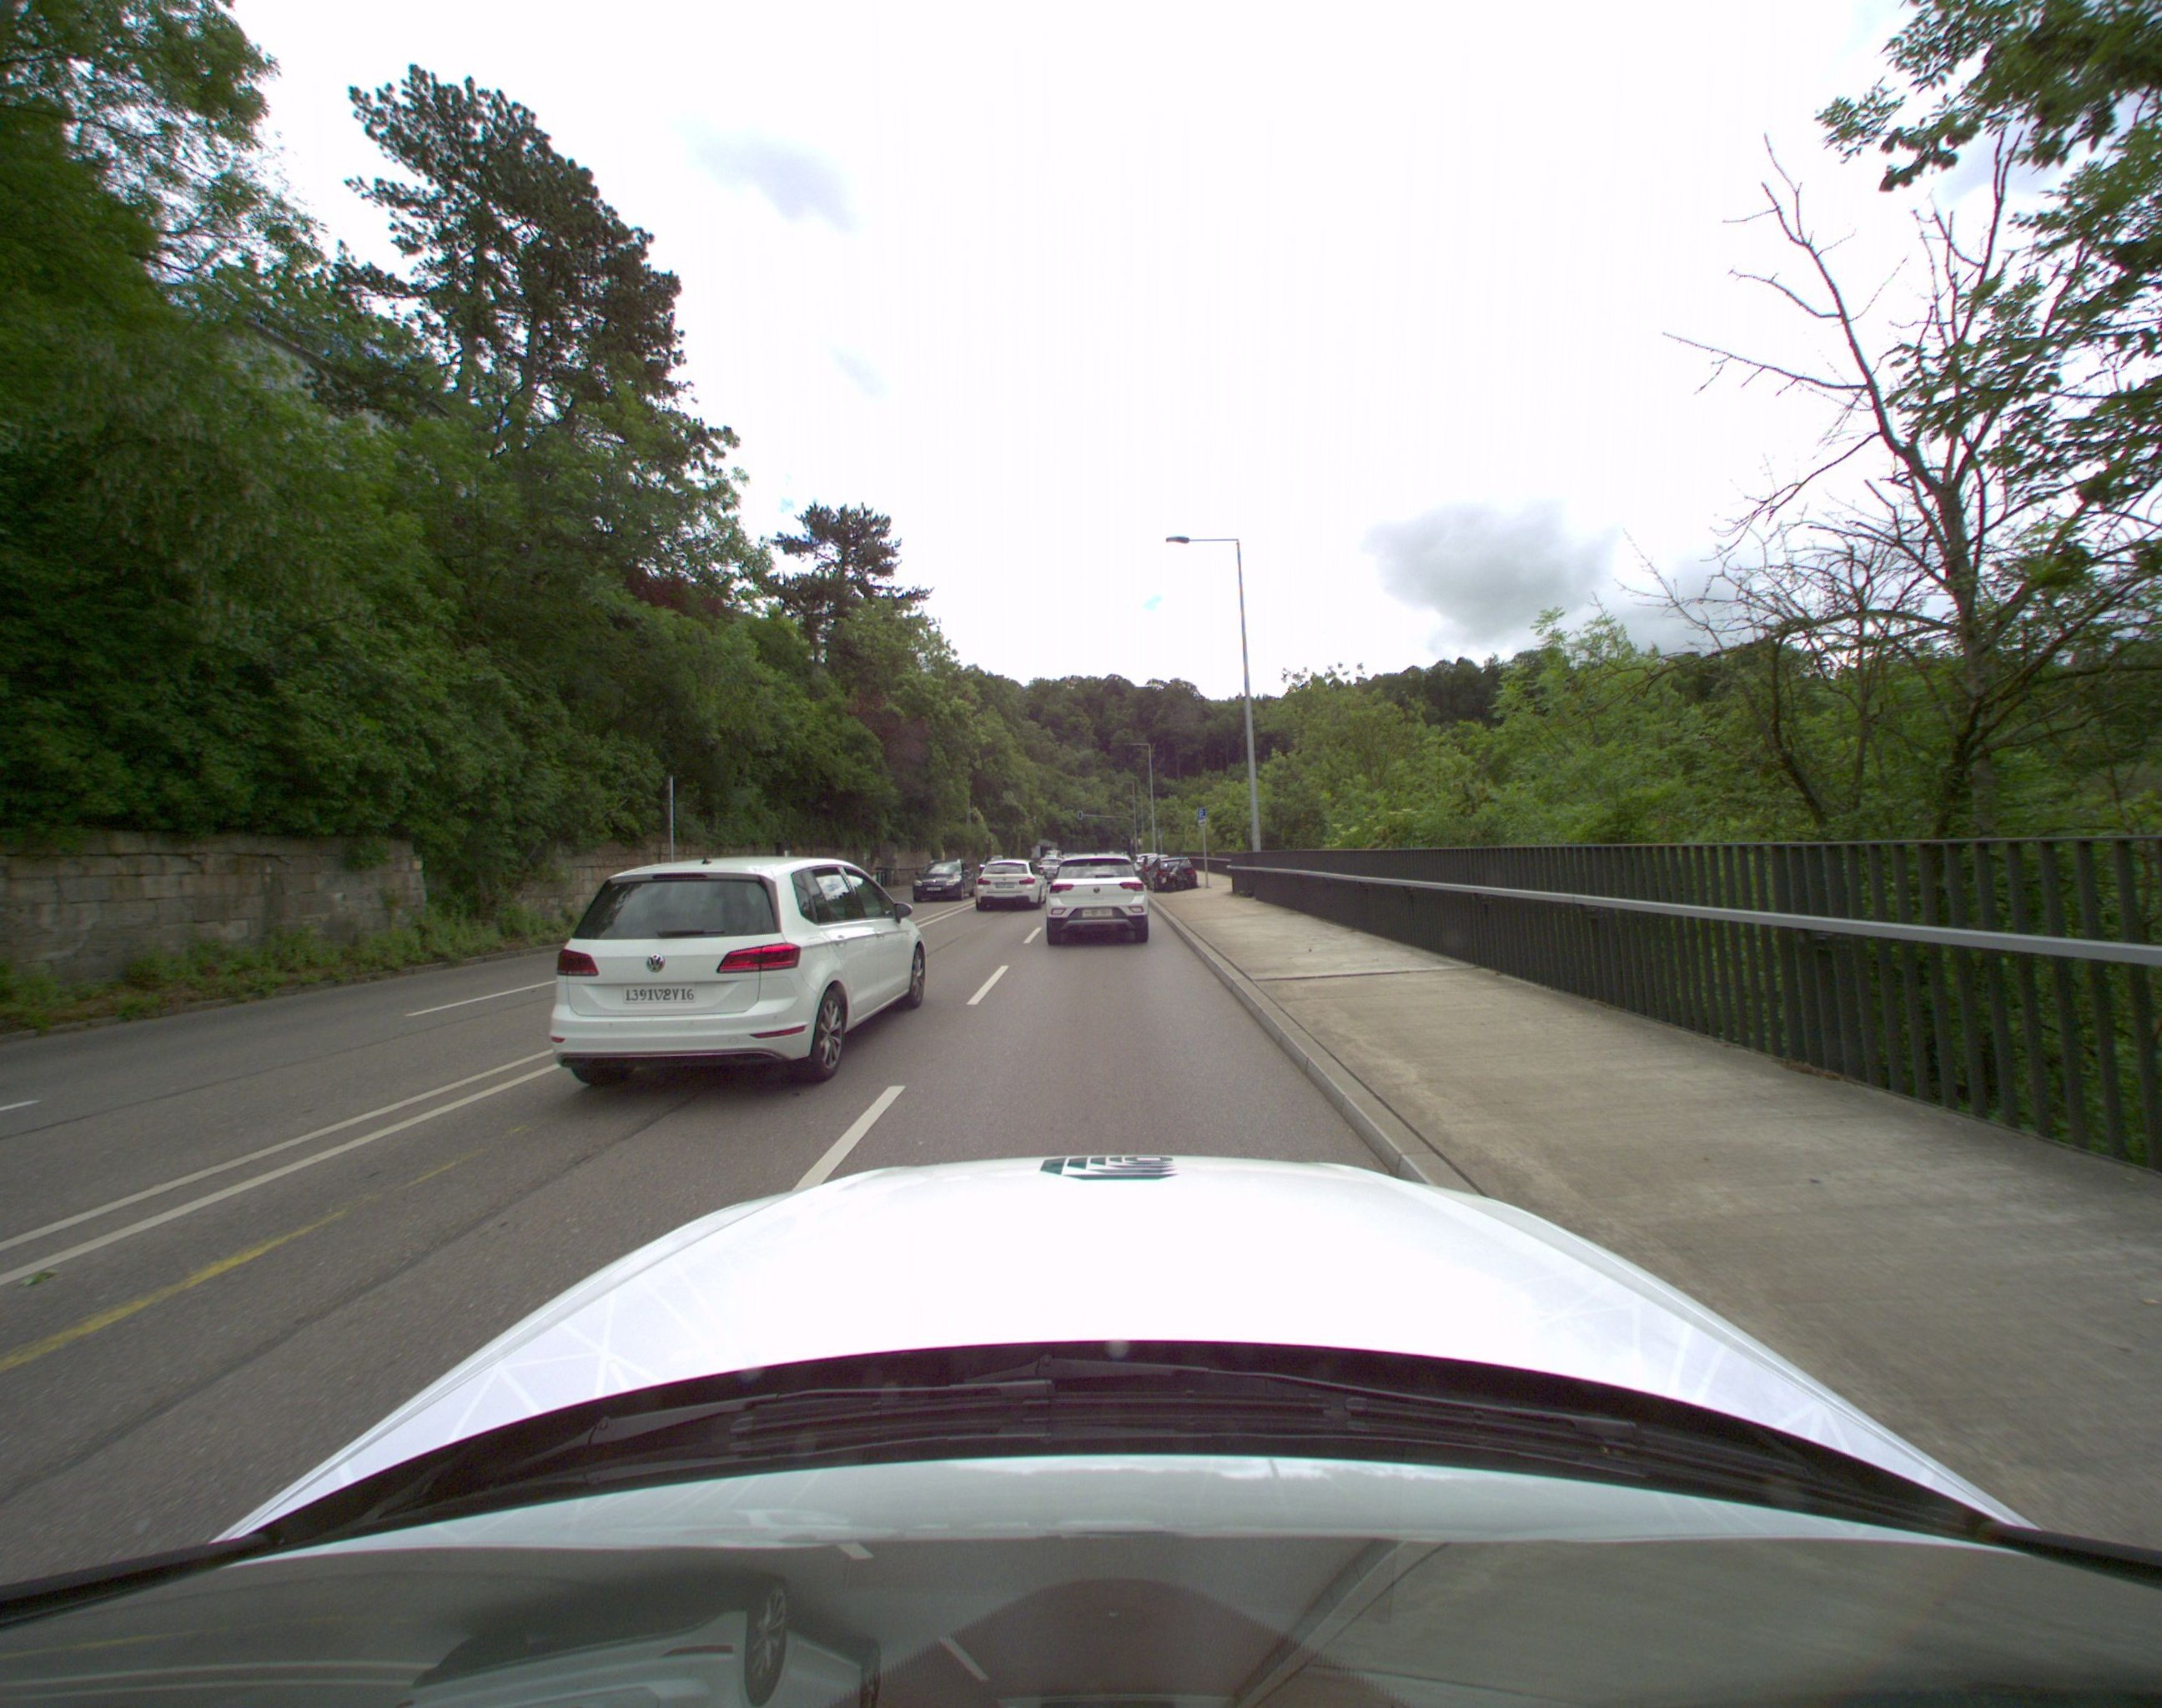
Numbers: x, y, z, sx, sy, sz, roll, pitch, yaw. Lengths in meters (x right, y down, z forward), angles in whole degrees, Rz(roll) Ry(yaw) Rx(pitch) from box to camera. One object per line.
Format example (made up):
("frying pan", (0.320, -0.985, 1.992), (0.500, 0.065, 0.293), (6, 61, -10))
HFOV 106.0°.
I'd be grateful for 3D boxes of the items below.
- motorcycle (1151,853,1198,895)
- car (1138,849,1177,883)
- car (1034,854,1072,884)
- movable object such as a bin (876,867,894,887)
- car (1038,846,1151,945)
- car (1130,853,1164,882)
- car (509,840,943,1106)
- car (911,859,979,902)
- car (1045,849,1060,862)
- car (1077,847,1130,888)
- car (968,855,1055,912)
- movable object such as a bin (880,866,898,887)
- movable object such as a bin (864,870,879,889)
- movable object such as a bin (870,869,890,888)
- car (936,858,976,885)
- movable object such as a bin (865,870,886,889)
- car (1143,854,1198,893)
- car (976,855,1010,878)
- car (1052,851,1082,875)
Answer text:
("motorcycle", (3.496, 0.724, 30.341), (0.762, 1.467, 2.520), (-1, 0, 30))
("car", (4.047, 0.624, 43.486), (1.653, 1.572, 4.256), (-4, 0, 1))
("car", (-1.521, 0.837, 45.676), (1.855, 1.595, 4.002), (0, -1, 2))
("movable object such as a bin", (-10.794, 1.284, 44.827), (0.770, 1.062, 0.717), (-2, 0, -2))
("car", (0.374, 0.712, 15.383), (1.805, 1.539, 4.013), (-3, -1, 4))
("car", (3.922, 0.787, 49.068), (1.720, 1.568, 4.625), (-3, -1, 1))
("car", (-2.487, 0.715, 6.998), (1.714, 1.554, 4.277), (-1, 0, 2))
("car", (-5.021, 0.948, 30.617), (1.851, 1.446, 4.294), (-1, 0, -1))
("car", (-4.429, 0.246, 127.311), (1.914, 2.005, 5.358), (-2, 0, 2))
("car", (1.123, 0.615, 38.980), (1.982, 1.843, 4.161), (0, -1, 9))
("car", (-1.990, 0.807, 24.730), (1.985, 1.557, 4.684), (-1, 0, 3))
("movable object such as a bin", (-10.748, 1.254, 45.565), (0.785, 1.071, 0.708), (-2, 1, -2))
("movable object such as a bin", (-11.022, 1.327, 42.845), (0.672, 0.966, 0.543), (-2, 0, -2))
("movable object such as a bin", (-10.868, 1.325, 44.098), (0.896, 1.034, 0.621), (-2, 0, -2))
("car", (-7.061, 0.988, 46.310), (1.577, 1.461, 3.525), (-1, 0, 3))
("movable object such as a bin", (-10.958, 1.344, 43.443), (0.914, 0.945, 0.593), (-2, 0, -2))
("car", (3.709, 0.782, 34.455), (1.817, 1.401, 4.319), (-4, 0, 0))
("car", (-6.798, 0.918, 63.278), (1.808, 1.697, 4.473), (-1, 0, 3))
("car", (-1.037, 0.666, 62.075), (1.986, 1.741, 4.002), (-1, 0, 2))
